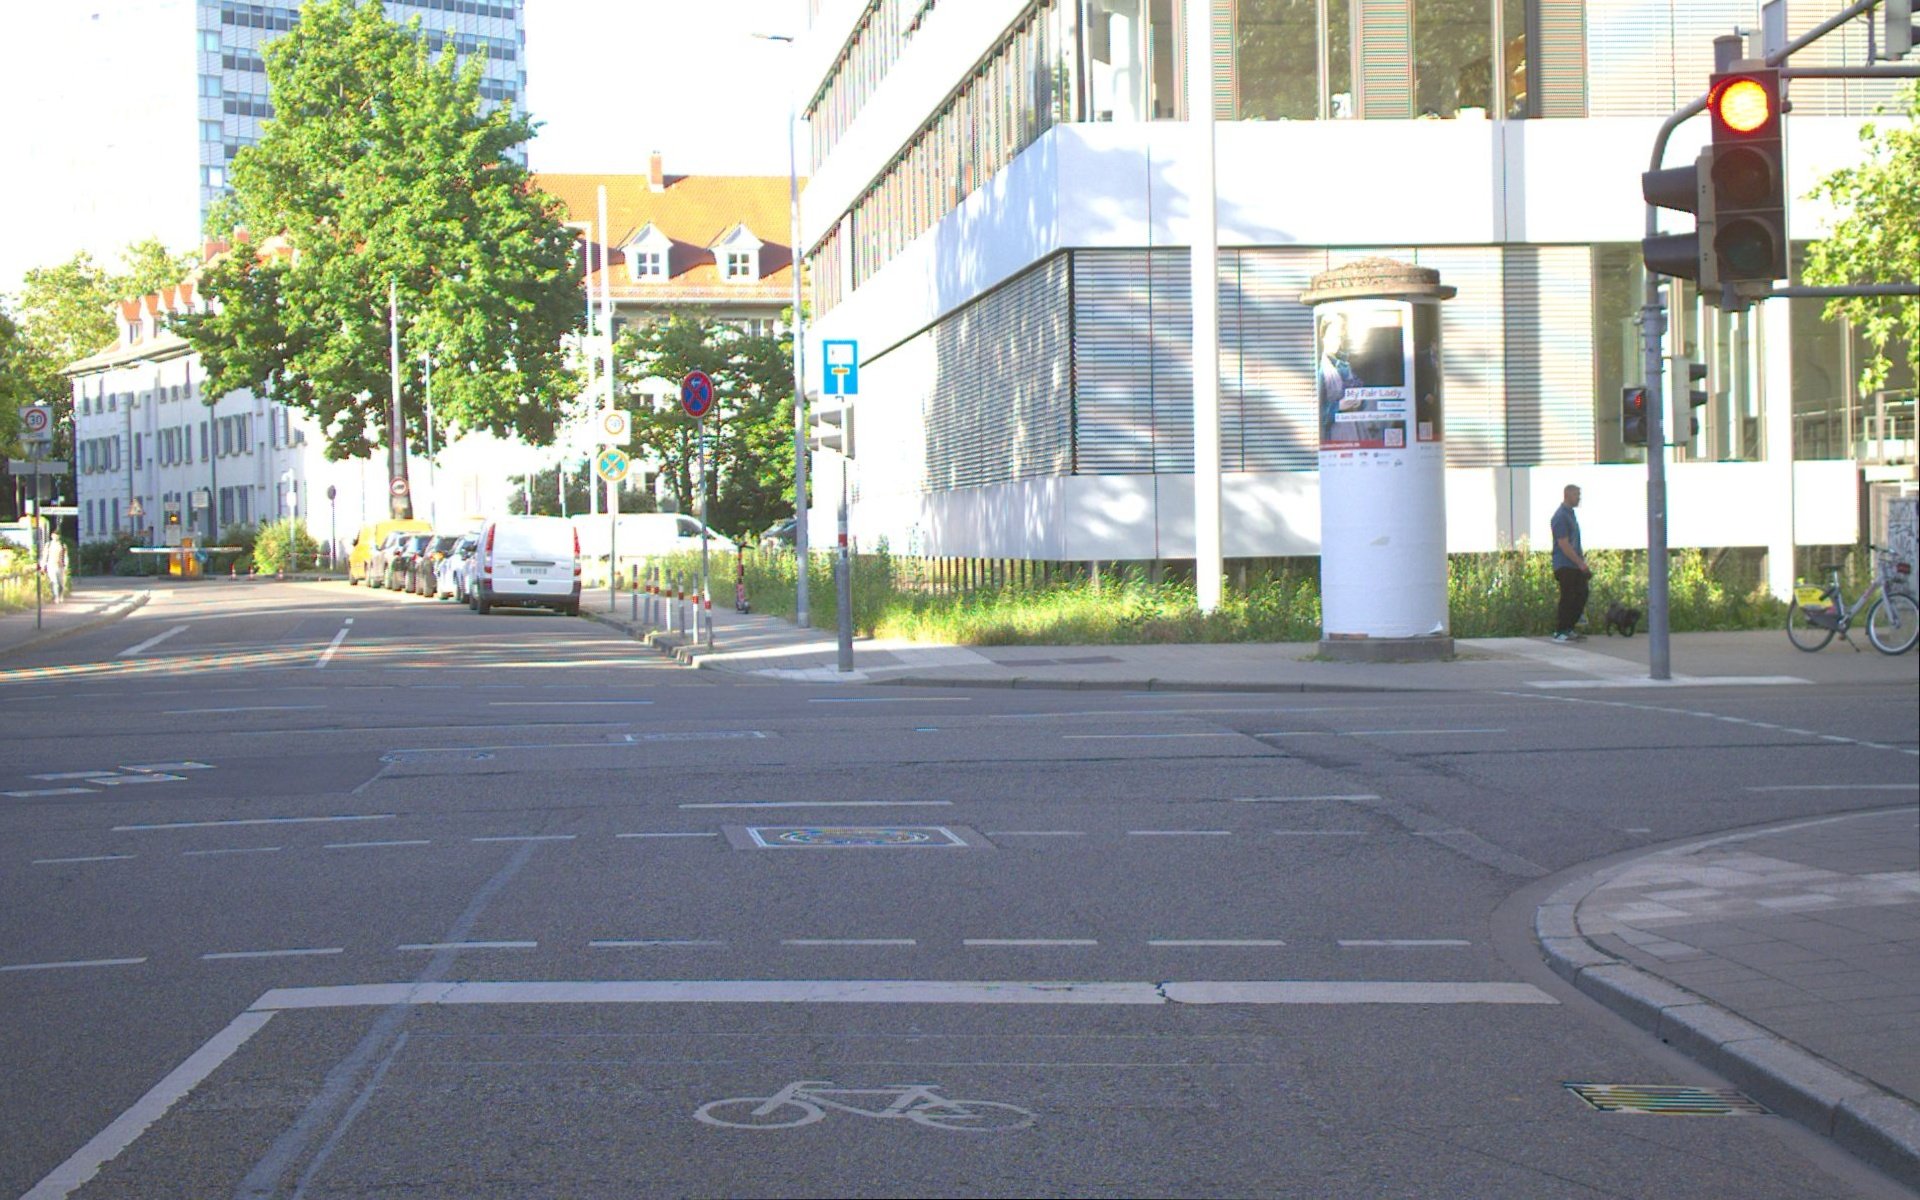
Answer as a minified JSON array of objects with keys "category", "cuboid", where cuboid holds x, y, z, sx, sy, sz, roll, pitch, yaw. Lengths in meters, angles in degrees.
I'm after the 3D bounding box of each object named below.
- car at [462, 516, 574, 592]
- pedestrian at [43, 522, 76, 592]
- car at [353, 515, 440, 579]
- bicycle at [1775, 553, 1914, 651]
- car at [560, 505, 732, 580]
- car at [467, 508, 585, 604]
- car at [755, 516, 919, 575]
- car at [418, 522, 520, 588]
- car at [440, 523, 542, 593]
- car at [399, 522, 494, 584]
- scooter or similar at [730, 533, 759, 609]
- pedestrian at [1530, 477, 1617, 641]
[{"category":"car","cuboid":[-9.167,-0.941,71.019,1.993,1.493,4.653,1,1,-11]},{"category":"pedestrian","cuboid":[-20.548,-0.990,78.473,0.699,1.581,0.637,1,0,-16]},{"category":"car","cuboid":[-15.735,-1.460,95.818,1.993,1.719,4.653,1,1,-14]},{"category":"bicycle","cuboid":[9.289,0.011,36.132,0.378,1.005,1.432,-2,2,-42]},{"category":"car","cuboid":[-9.399,-1.715,102.914,4.791,2.151,2.001,1,0,-17]},{"category":"car","cuboid":[-8.216,-0.823,64.806,1.993,1.719,4.653,1,1,-10]},{"category":"car","cuboid":[-3.752,-1.645,104.758,4.635,1.719,2.001,1,1,-16]},{"category":"car","cuboid":[-11.622,-1.068,81.238,1.993,1.493,4.288,1,1,-13]},{"category":"car","cuboid":[-10.501,-0.943,76.791,1.993,1.493,4.653,1,1,-11]},{"category":"car","cuboid":[-12.876,-1.172,85.962,1.993,1.493,4.653,1,1,-13]},{"category":"scooter or similar","cuboid":[-3.655,-0.498,58.275,0.437,1.252,1.420,-1,1,-4]},{"category":"pedestrian","cuboid":[6.884,-0.460,38.567,0.914,1.809,0.762,1,0,12]}]
